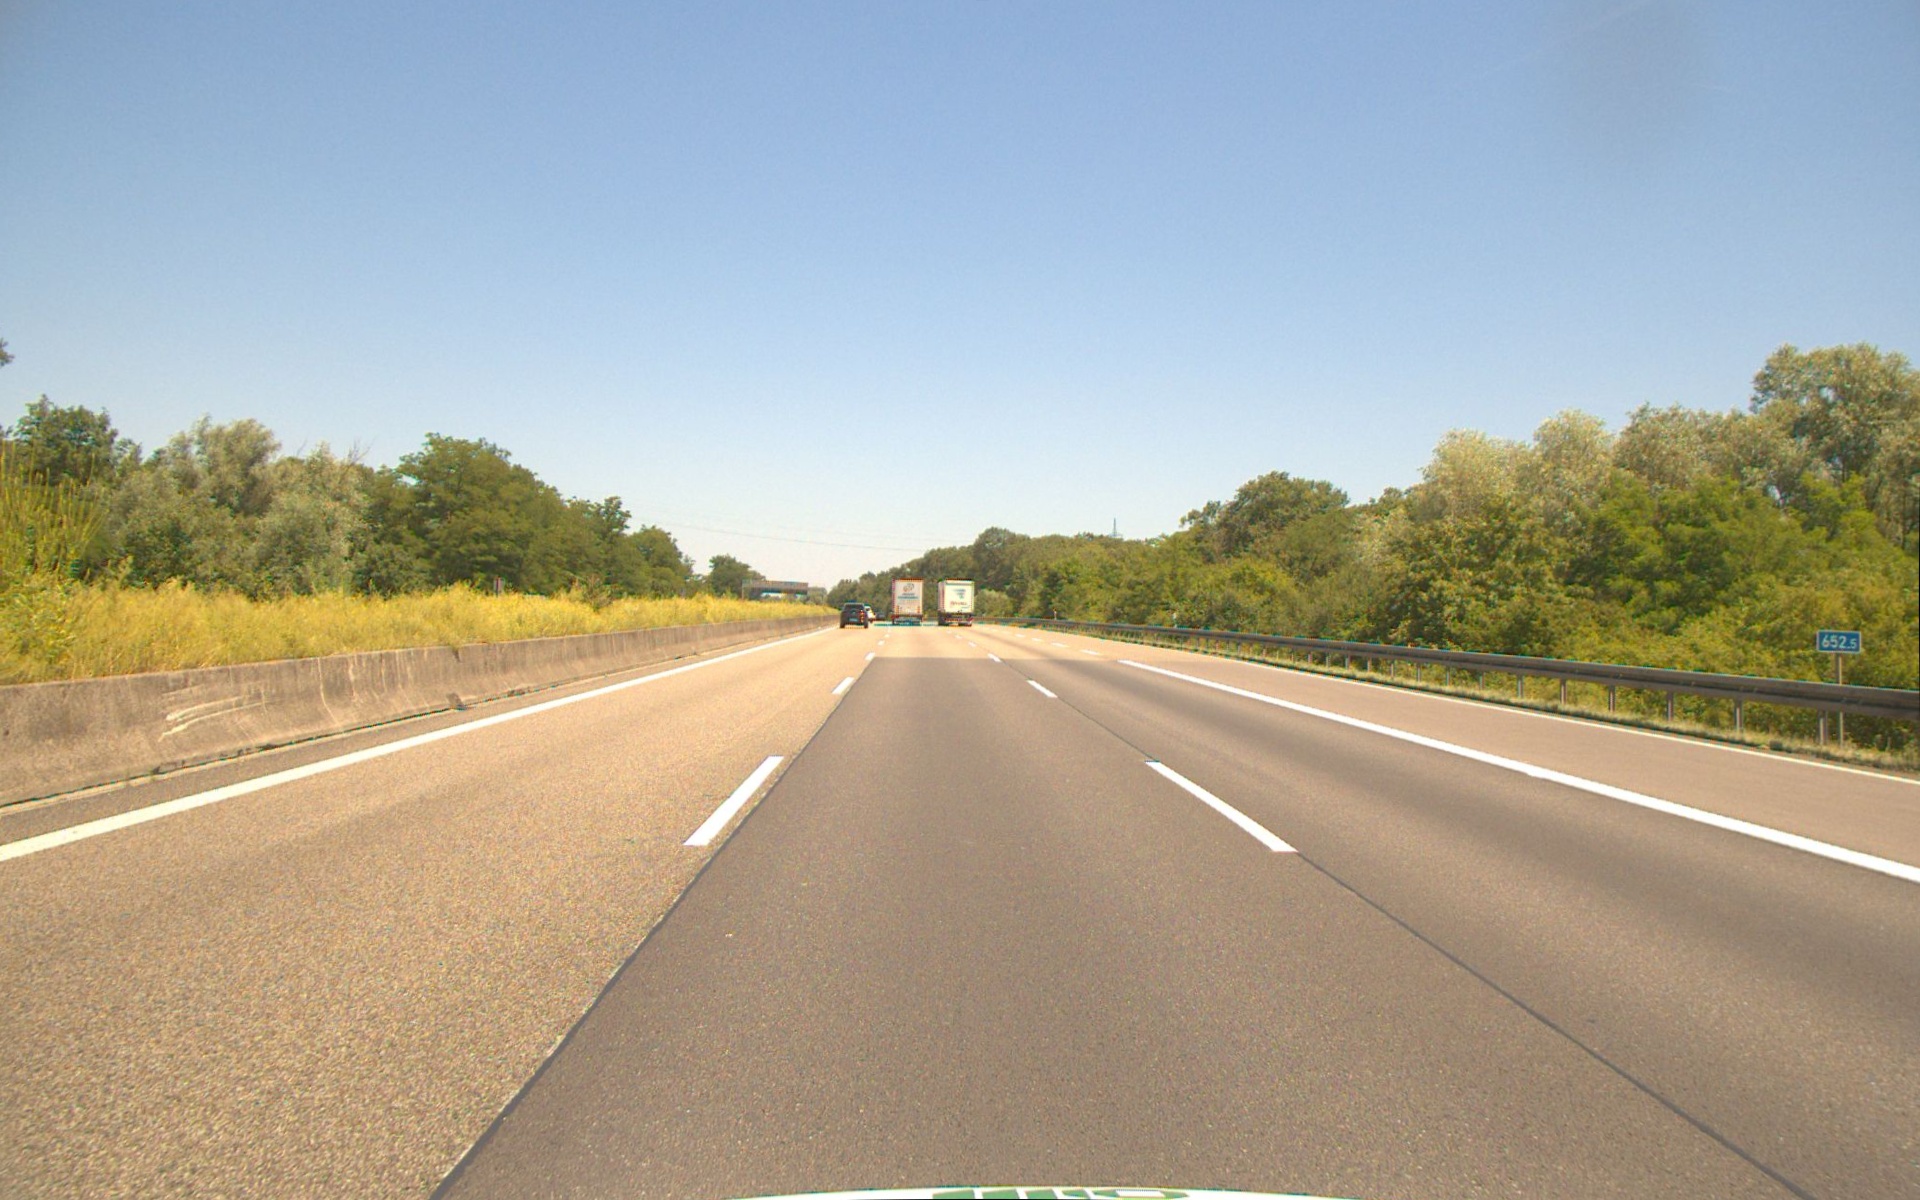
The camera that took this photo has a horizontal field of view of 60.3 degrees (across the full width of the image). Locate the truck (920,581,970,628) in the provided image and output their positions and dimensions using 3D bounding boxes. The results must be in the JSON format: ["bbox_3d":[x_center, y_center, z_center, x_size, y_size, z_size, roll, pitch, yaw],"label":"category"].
[{"bbox_3d":[-1.453,0.417,153.205,3.263,4.124,10.936,1,0,-7],"label":"truck"}]

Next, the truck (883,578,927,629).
[{"bbox_3d":[-4.821,0.283,143.551,3.167,4.275,8.456,1,0,-5],"label":"truck"}]

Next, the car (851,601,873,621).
[{"bbox_3d":[-10.072,1.106,169.268,1.955,1.907,3.994,2,0,-7],"label":"car"}]

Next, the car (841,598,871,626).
[{"bbox_3d":[-7.306,0.815,115.957,1.953,1.907,3.998,1,0,-2],"label":"car"}]

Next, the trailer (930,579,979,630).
[{"bbox_3d":[-0.574,0.373,145.313,3.303,4.215,9.080,1,0,-6],"label":"trailer"}]
